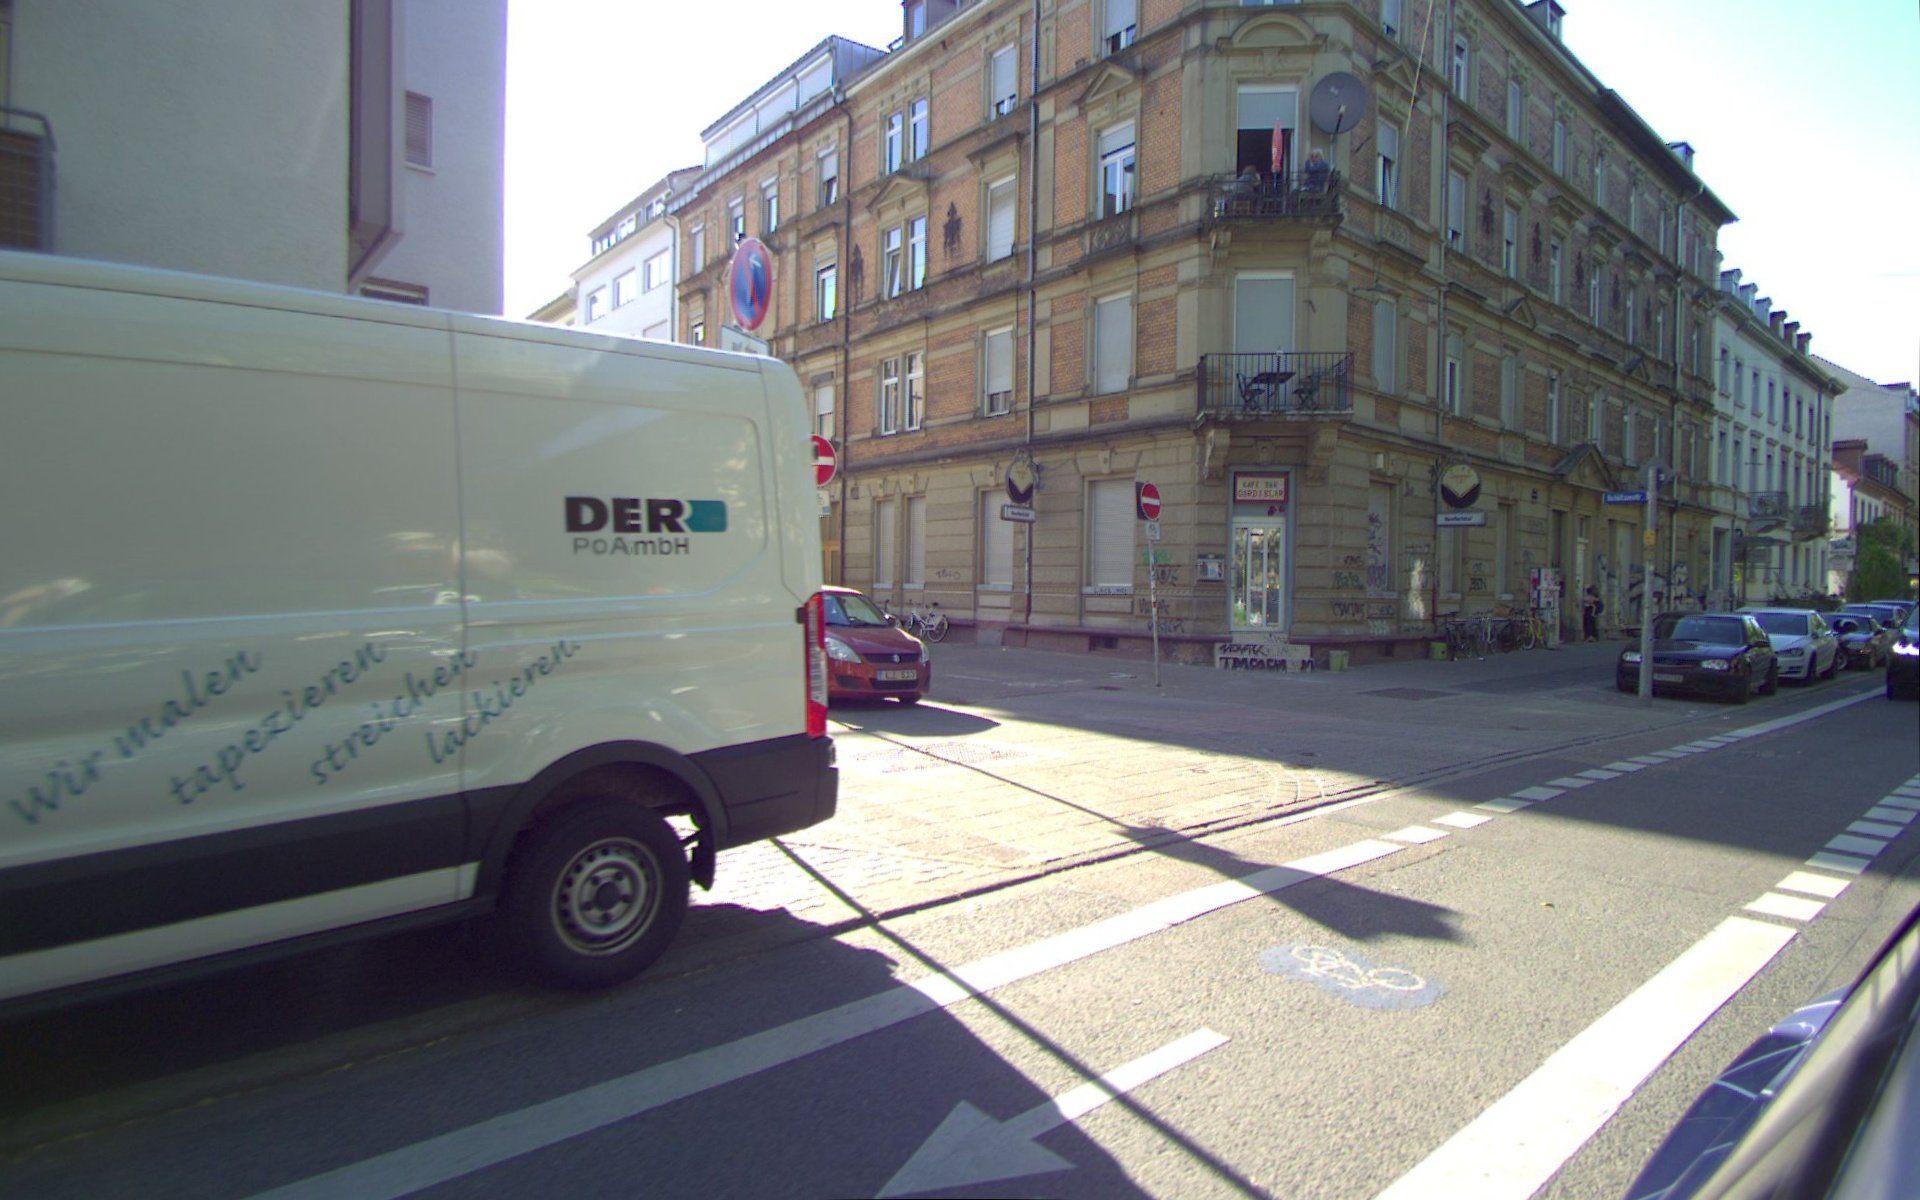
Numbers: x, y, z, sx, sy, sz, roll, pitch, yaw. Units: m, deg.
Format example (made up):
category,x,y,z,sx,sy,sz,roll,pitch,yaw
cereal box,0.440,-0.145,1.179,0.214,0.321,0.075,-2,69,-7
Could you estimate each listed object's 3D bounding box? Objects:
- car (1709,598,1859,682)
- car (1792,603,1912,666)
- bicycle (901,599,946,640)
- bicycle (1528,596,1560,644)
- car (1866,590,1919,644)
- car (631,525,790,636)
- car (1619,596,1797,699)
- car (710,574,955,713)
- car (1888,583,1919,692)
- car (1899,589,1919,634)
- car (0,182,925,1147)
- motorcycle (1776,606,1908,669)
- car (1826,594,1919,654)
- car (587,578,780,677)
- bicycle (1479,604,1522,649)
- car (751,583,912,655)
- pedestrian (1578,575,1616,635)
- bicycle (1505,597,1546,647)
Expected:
category,x,y,z,sx,sy,sz,roll,pitch,yaw
car,16.666,0.729,20.407,3.942,1.438,1.606,0,3,-40
car,21.648,0.778,24.520,3.659,1.288,1.653,-1,3,-41
bicycle,-0.935,0.489,25.775,0.372,0.973,1.371,0,1,-40
bicycle,14.619,0.493,25.329,1.118,1.168,0.274,0,1,-39
car,29.254,0.508,31.224,2.771,1.561,1.514,0,3,-40
car,-7.160,-0.557,28.583,2.200,2.810,5.539,0,1,-39
car,12.697,0.700,17.097,3.991,1.438,1.652,-1,3,-43
car,-1.843,0.482,13.659,1.756,1.594,3.662,1,0,-35
car,17.435,0.641,17.072,4.545,1.726,1.949,1,-1,-39
car,35.223,0.437,36.360,3.839,1.523,1.635,0,6,-41
car,-3.119,0.152,3.548,5.982,2.526,2.153,0,1,-41
motorcycle,19.746,0.818,22.723,2.121,1.305,0.636,1,1,29
car,25.442,0.615,27.959,3.674,1.470,1.610,0,3,-39
car,-4.868,0.377,17.470,1.758,1.473,4.035,0,2,-39
bicycle,12.485,0.603,23.366,1.347,1.013,0.379,0,1,-39
car,-3.013,0.362,23.177,1.673,1.394,3.993,-3,4,-42
pedestrian,18.264,0.135,29.008,0.753,1.677,0.716,0,1,-41
bicycle,13.678,0.516,24.469,1.347,1.168,0.379,0,1,-39
